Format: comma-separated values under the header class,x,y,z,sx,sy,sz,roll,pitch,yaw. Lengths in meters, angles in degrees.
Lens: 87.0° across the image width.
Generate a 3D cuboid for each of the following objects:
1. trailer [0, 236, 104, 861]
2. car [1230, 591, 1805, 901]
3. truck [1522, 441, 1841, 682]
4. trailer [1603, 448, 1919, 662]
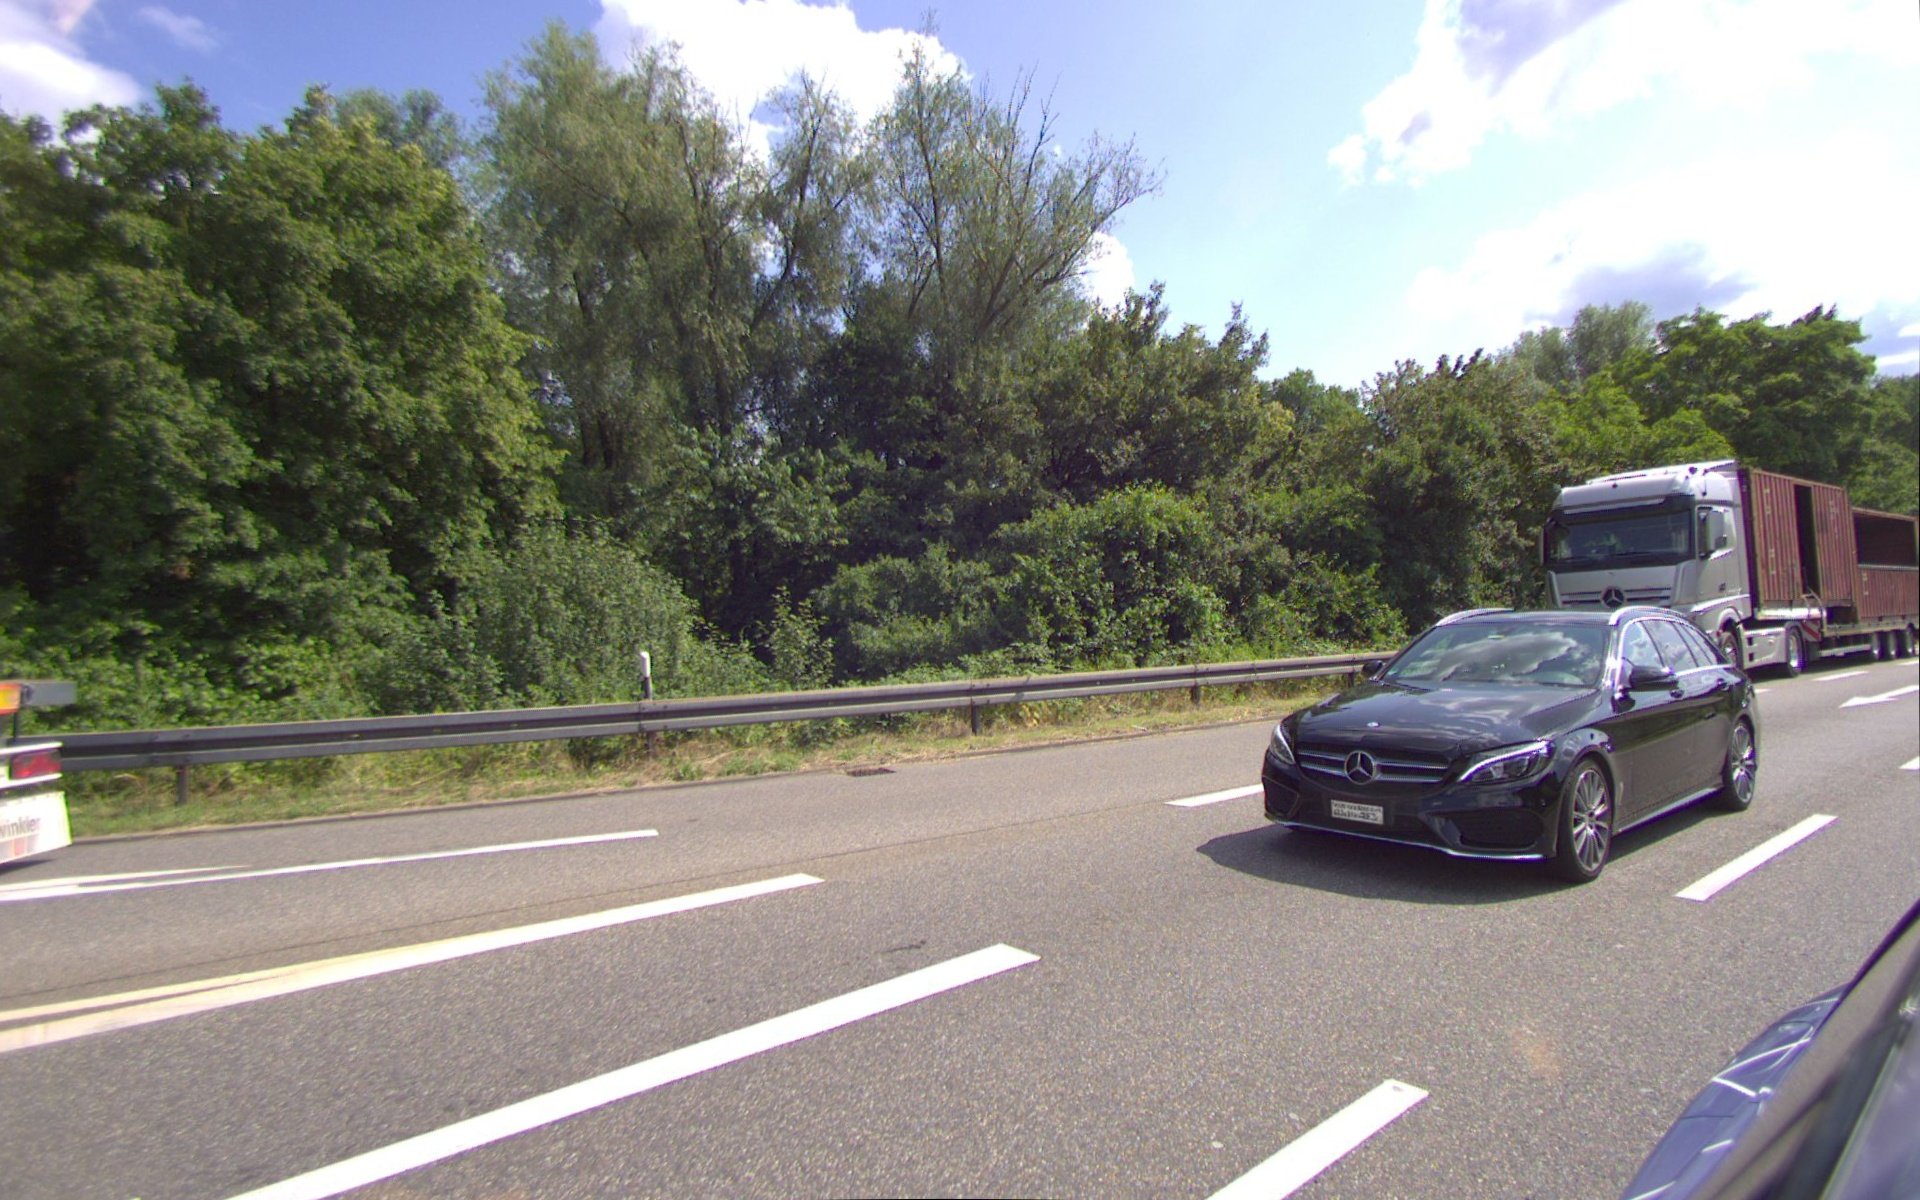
class,x,y,z,sx,sy,sz,roll,pitch,yaw
trailer,-12.566,-0.109,4.572,13.559,3.942,2.651,-2,-3,-13
car,3.936,0.709,6.857,4.289,1.454,1.795,-1,-1,-37
truck,13.912,-0.580,19.358,6.691,3.895,2.777,0,-3,-36
trailer,18.940,-0.815,22.930,12.086,3.900,2.779,0,-2,-35
